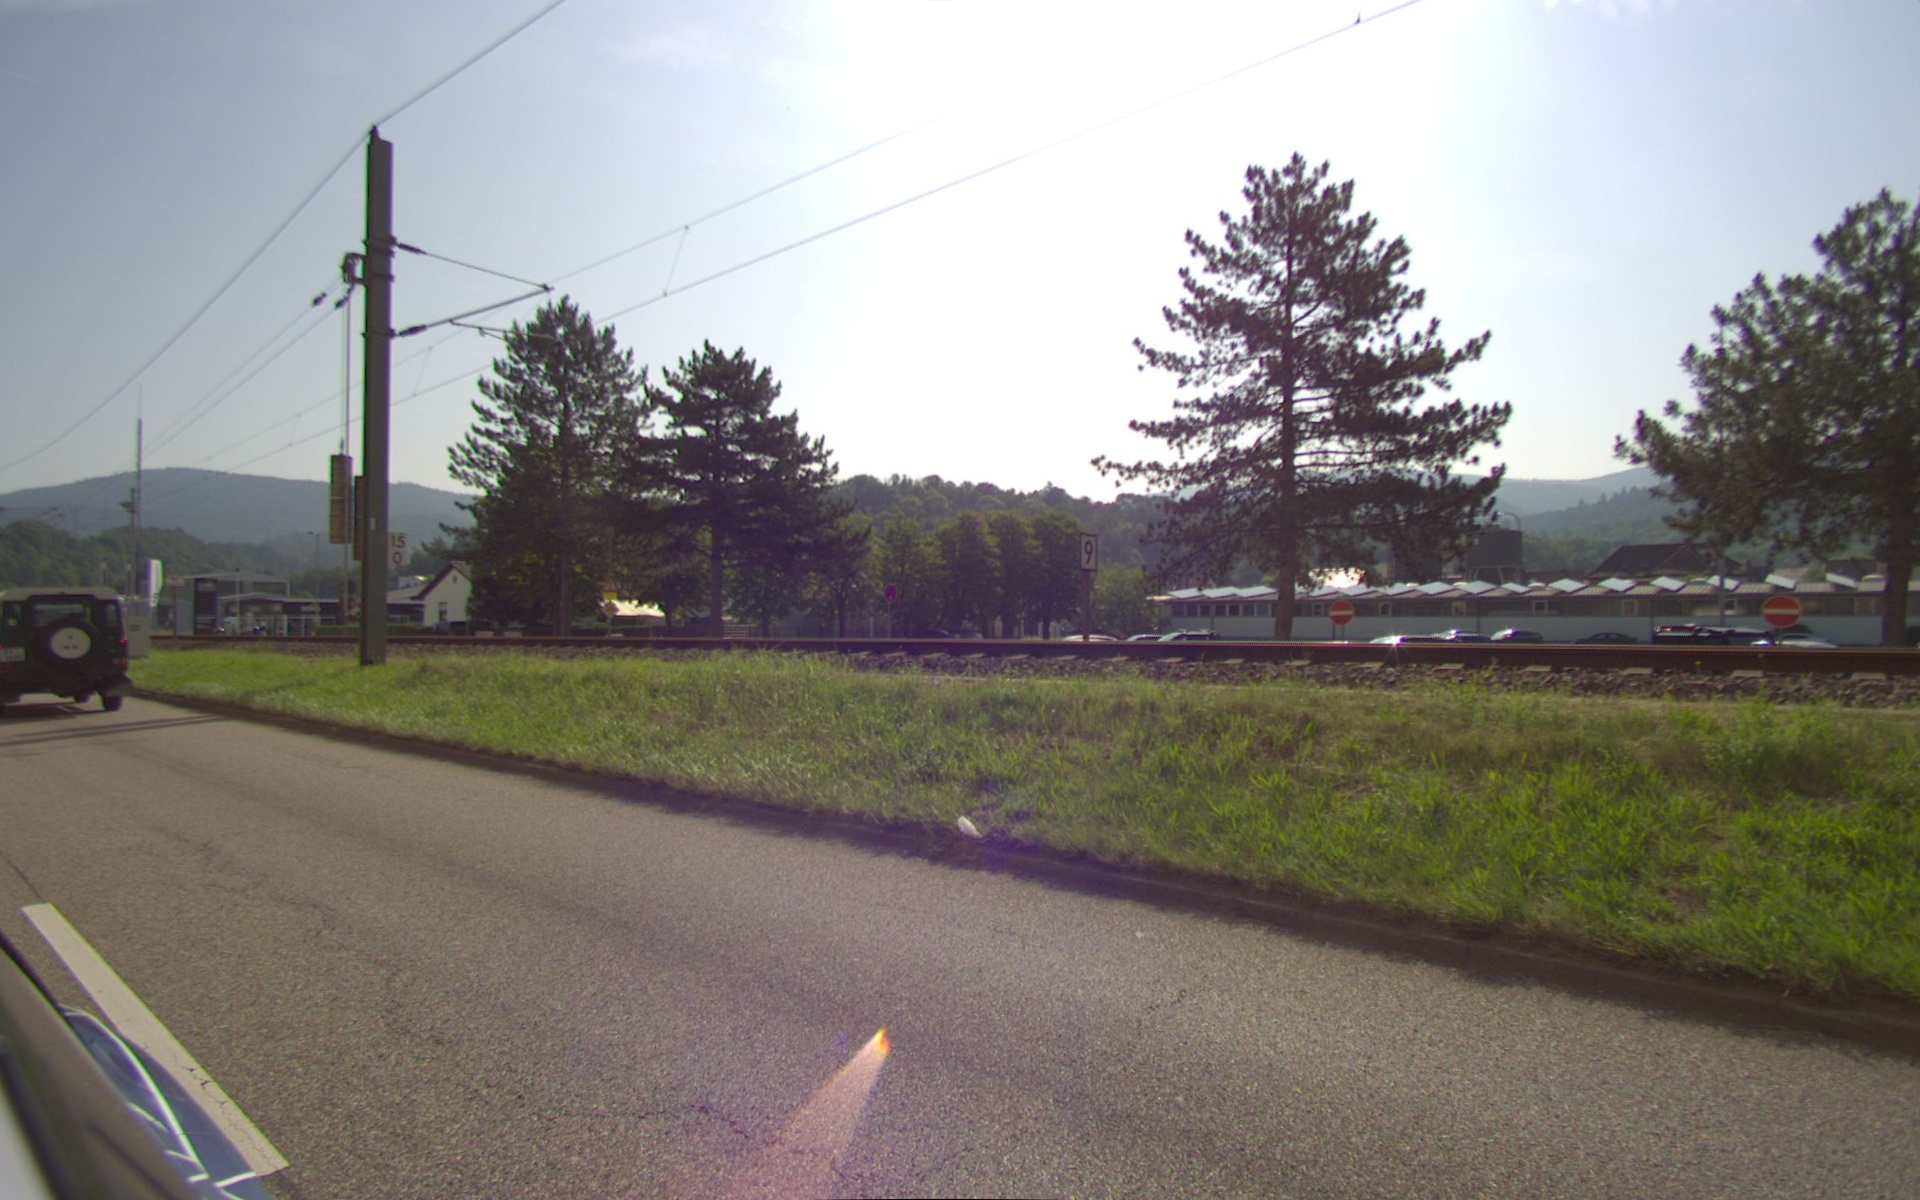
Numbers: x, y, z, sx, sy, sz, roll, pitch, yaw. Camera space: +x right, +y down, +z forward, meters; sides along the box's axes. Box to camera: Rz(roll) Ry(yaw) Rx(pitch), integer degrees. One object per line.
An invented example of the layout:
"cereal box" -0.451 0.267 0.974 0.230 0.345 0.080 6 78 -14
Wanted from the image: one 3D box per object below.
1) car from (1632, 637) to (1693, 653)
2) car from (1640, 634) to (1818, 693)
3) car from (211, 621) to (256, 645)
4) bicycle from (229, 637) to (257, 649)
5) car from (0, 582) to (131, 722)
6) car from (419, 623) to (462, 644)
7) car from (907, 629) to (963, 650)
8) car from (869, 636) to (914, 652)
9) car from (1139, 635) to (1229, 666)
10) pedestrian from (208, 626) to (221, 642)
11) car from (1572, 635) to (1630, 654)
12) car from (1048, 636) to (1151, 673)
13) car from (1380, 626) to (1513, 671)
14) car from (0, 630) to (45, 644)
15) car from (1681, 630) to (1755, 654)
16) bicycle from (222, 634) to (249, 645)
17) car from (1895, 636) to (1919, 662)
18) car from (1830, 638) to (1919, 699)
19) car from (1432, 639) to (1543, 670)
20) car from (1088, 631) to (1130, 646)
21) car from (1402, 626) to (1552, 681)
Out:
"car" 50.778 3.254 73.185 3.533 1.119 1.321 -1 -3 39
"car" 19.098 1.538 25.328 1.496 1.368 3.525 0 -2 -6
"car" -86.295 3.950 120.214 6.144 2.653 2.353 1 -1 34
"bicycle" -71.581 4.266 101.068 0.726 1.139 2.155 -1 -2 26
"car" -15.730 0.825 17.271 4.806 2.094 1.740 -2 -1 42
"car" -34.456 2.193 67.112 2.889 1.362 1.378 -1 -2 36
"car" -1.919 2.958 76.797 3.985 1.560 1.666 -1 -2 31
"car" -6.340 4.072 94.170 3.954 1.464 1.465 0 -2 9
"car" 10.546 2.357 47.774 3.791 1.417 1.691 0 -2 -8
"pedestrian" -60.329 2.744 81.889 0.672 1.342 0.569 -1 -2 31
"car" 47.824 3.311 75.547 3.533 1.335 1.438 -1 -3 39
"car" 5.528 2.158 40.480 3.795 1.454 1.689 0 -2 -3
"car" 16.904 1.682 35.252 3.795 1.518 1.689 0 -2 -3
"car" -118.694 4.688 128.064 1.658 1.539 3.925 -1 1 33
"car" 49.074 2.727 65.601 1.540 1.534 3.547 1 -2 -17
"bicycle" -74.430 4.059 104.030 0.726 1.139 2.155 -1 -2 26
"car" 54.896 2.769 56.616 1.553 1.457 3.476 1 -2 -28
"car" 22.005 1.521 22.509 1.539 1.335 3.866 1 -2 -11
"car" 22.008 2.278 42.317 3.795 1.272 1.568 0 -2 -3
"car" 14.594 3.757 98.916 3.842 1.492 1.478 -1 -2 34
"car" 16.139 1.664 31.701 3.795 1.655 1.689 0 -2 -3
